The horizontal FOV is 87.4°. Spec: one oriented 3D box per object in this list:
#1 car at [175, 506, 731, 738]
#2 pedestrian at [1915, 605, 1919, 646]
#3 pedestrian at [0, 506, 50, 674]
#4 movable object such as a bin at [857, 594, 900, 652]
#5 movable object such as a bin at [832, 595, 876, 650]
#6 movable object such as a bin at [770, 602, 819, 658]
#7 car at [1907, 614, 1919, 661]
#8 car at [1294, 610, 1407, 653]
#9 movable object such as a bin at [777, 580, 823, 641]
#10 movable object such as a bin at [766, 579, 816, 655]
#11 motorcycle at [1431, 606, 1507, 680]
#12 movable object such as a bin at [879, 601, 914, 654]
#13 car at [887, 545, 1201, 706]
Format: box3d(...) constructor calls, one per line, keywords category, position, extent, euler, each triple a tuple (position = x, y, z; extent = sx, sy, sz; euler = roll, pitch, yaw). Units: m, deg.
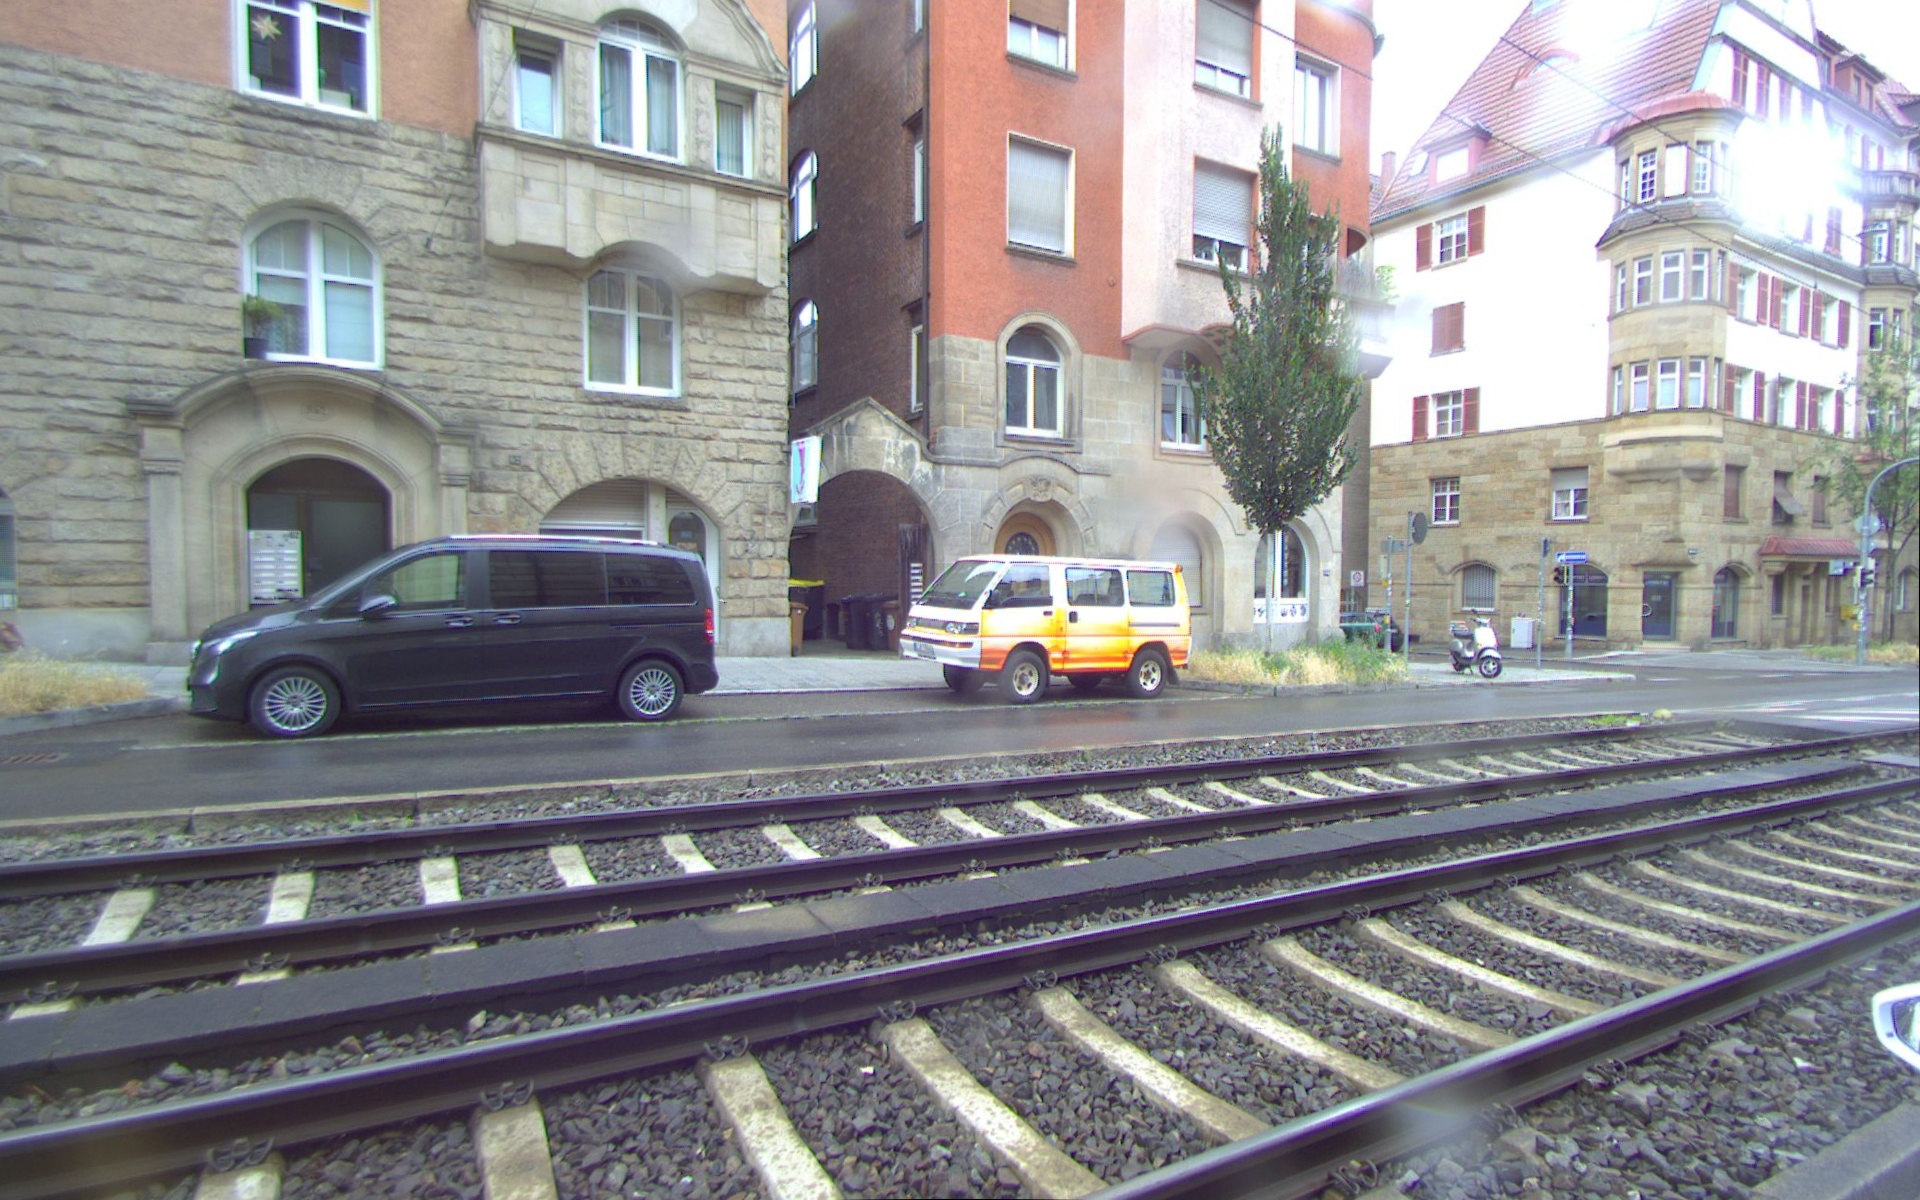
box3d(category="car", position=(-5.056, 0.246, 10.582), extent=(4.769, 1.968, 1.984), euler=(2, 0, -30))
box3d(category="pedestrian", position=(39.730, 1.052, 41.230), extent=(0.696, 1.695, 0.626), euler=(2, 0, -36))
box3d(category="pedestrian", position=(-9.831, -0.104, 10.154), extent=(0.756, 1.664, 0.696), euler=(2, 0, -30))
box3d(category="movable object such as a bin", position=(-1.551, 0.436, 19.127), extent=(0.607, 1.090, 0.679), euler=(1, -1, -27))
box3d(category="movable object such as a bin", position=(-2.089, 0.441, 19.673), extent=(0.607, 1.052, 0.793), euler=(1, -1, -27))
box3d(category="movable object such as a bin", position=(-2.897, 0.518, 17.578), extent=(0.627, 0.918, 0.793), euler=(1, 1, -27))
box3d(category="car", position=(34.163, 1.329, 34.340), extent=(3.994, 1.573, 1.741), euler=(2, 0, -34))
box3d(category="car", position=(14.456, 1.152, 37.330), extent=(1.683, 1.423, 3.618), euler=(2, 0, -34))
box3d(category="movable object such as a bin", position=(-3.616, 0.233, 22.644), extent=(0.676, 1.324, 1.154), euler=(1, 1, -26))
box3d(category="movable object such as a bin", position=(-3.112, 0.297, 18.451), extent=(0.648, 1.360, 0.903), euler=(1, 1, -27))
box3d(category="motorcycle", position=(10.101, 0.827, 19.987), extent=(0.612, 1.384, 1.596), euler=(2, 0, -3))
box3d(category="movable object such as a bin", position=(-1.178, 0.511, 18.619), extent=(0.442, 0.957, 0.557), euler=(1, -1, -27))
box3d(category="car", position=(1.270, 0.372, 14.426), extent=(4.295, 2.001, 1.721), euler=(2, 0, -32))
